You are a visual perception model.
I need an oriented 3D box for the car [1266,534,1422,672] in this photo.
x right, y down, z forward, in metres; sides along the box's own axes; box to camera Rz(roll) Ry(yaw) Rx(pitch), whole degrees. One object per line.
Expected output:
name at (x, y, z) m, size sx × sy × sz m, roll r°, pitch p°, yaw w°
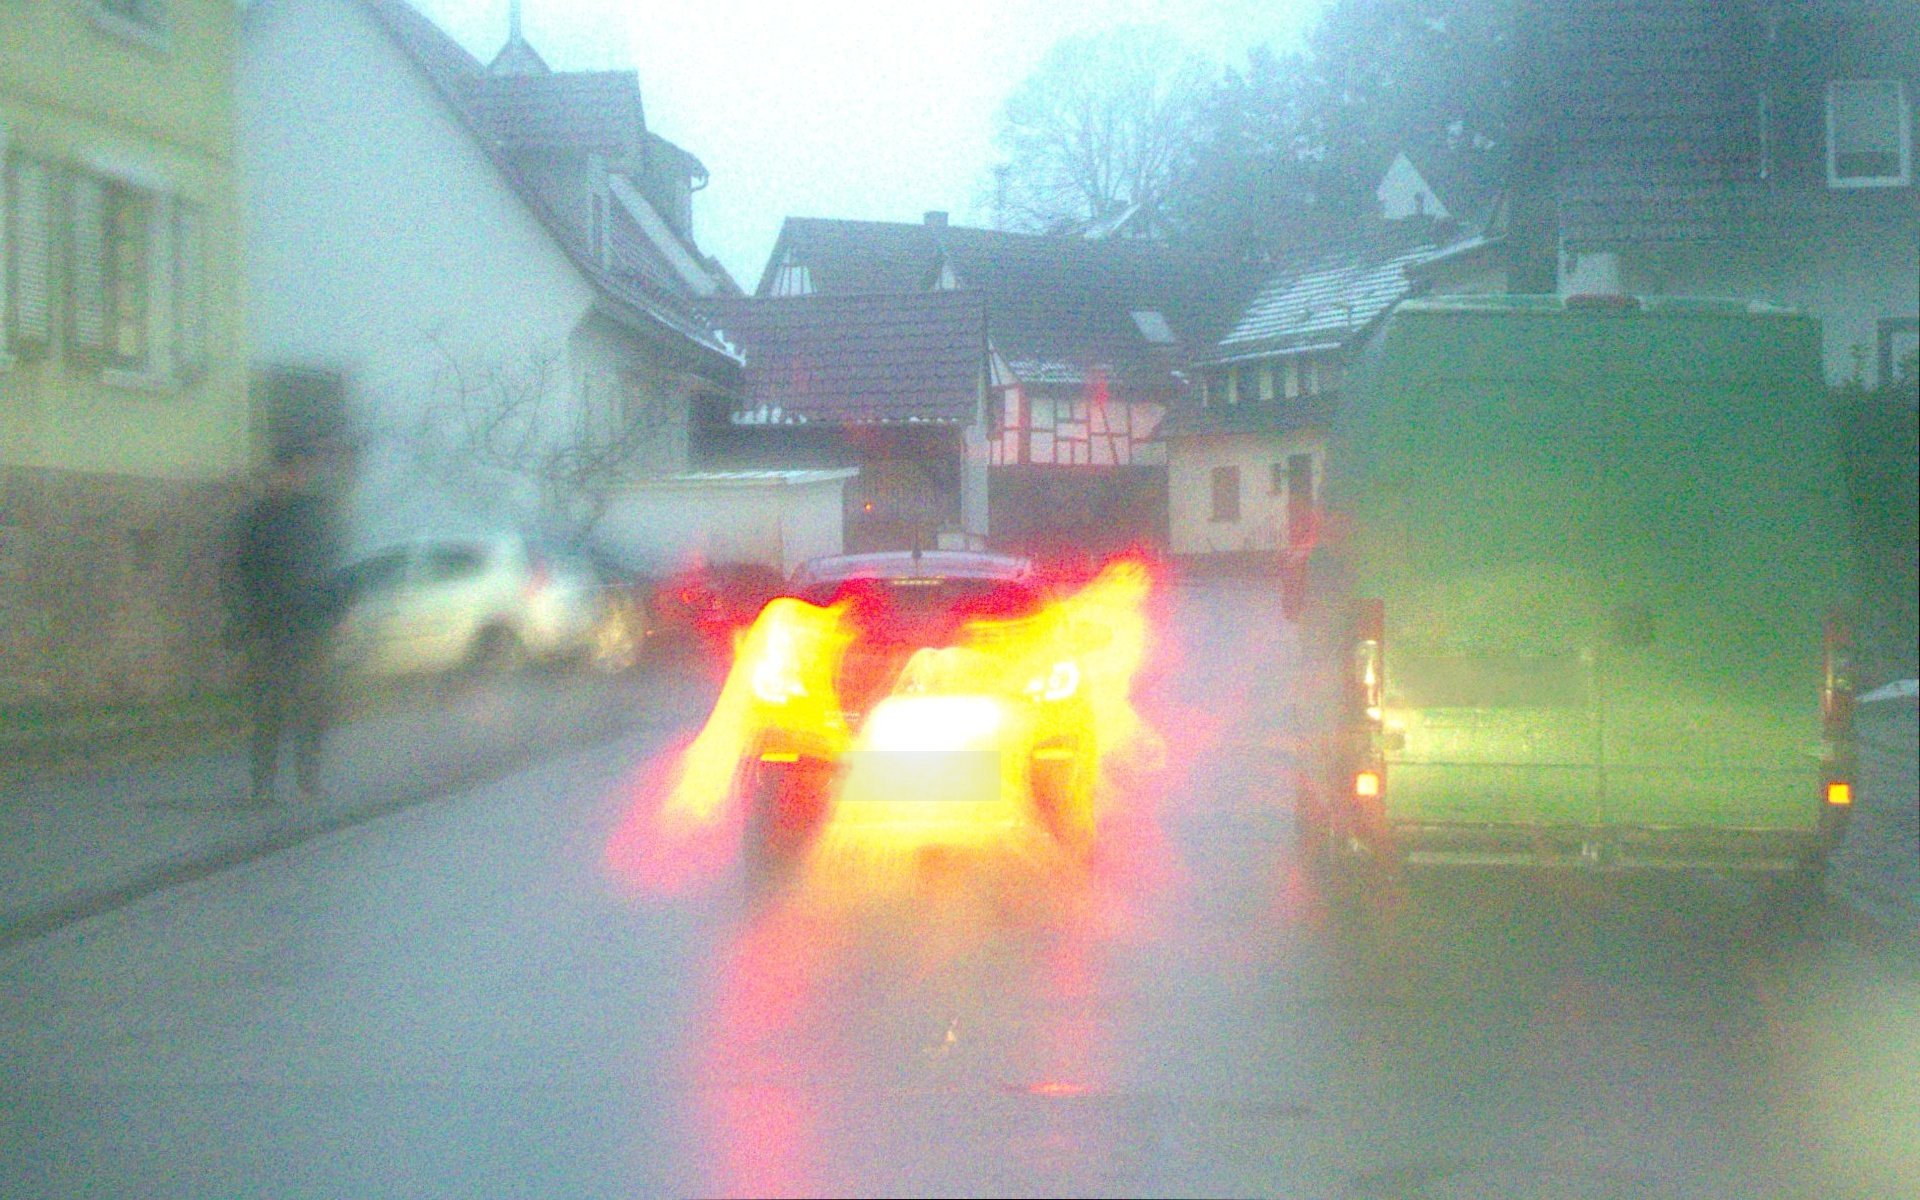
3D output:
car at (4.383, -0.013, 38.864) m, size 1.638 × 1.466 × 3.999 m, roll 0°, pitch 1°, yaw 8°

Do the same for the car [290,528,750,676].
car at (-4.758, 0.005, 37.568) m, size 4.594 × 1.465 × 1.999 m, roll -1°, pitch 1°, yaw 7°

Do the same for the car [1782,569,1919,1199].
car at (2.206, 0.729, 3.652) m, size 1.643 × 1.472 × 4.372 m, roll 0°, pitch 1°, yaw 0°

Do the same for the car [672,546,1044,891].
car at (-0.395, 0.480, 16.652) m, size 1.546 × 1.461 × 3.698 m, roll 0°, pitch 1°, yaw 2°

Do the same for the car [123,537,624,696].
car at (-5.922, 0.159, 34.906) m, size 4.605 × 1.465 × 1.891 m, roll -1°, pitch 1°, yaw 11°

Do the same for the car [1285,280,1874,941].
car at (2.560, -0.023, 15.584) m, size 2.009 × 2.445 × 5.614 m, roll 0°, pitch 1°, yaw 4°

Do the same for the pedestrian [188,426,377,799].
pedestrian at (-3.733, 0.062, 19.001) m, size 0.783 × 2.007 × 0.869 m, roll 1°, pitch 0°, yaw 6°
